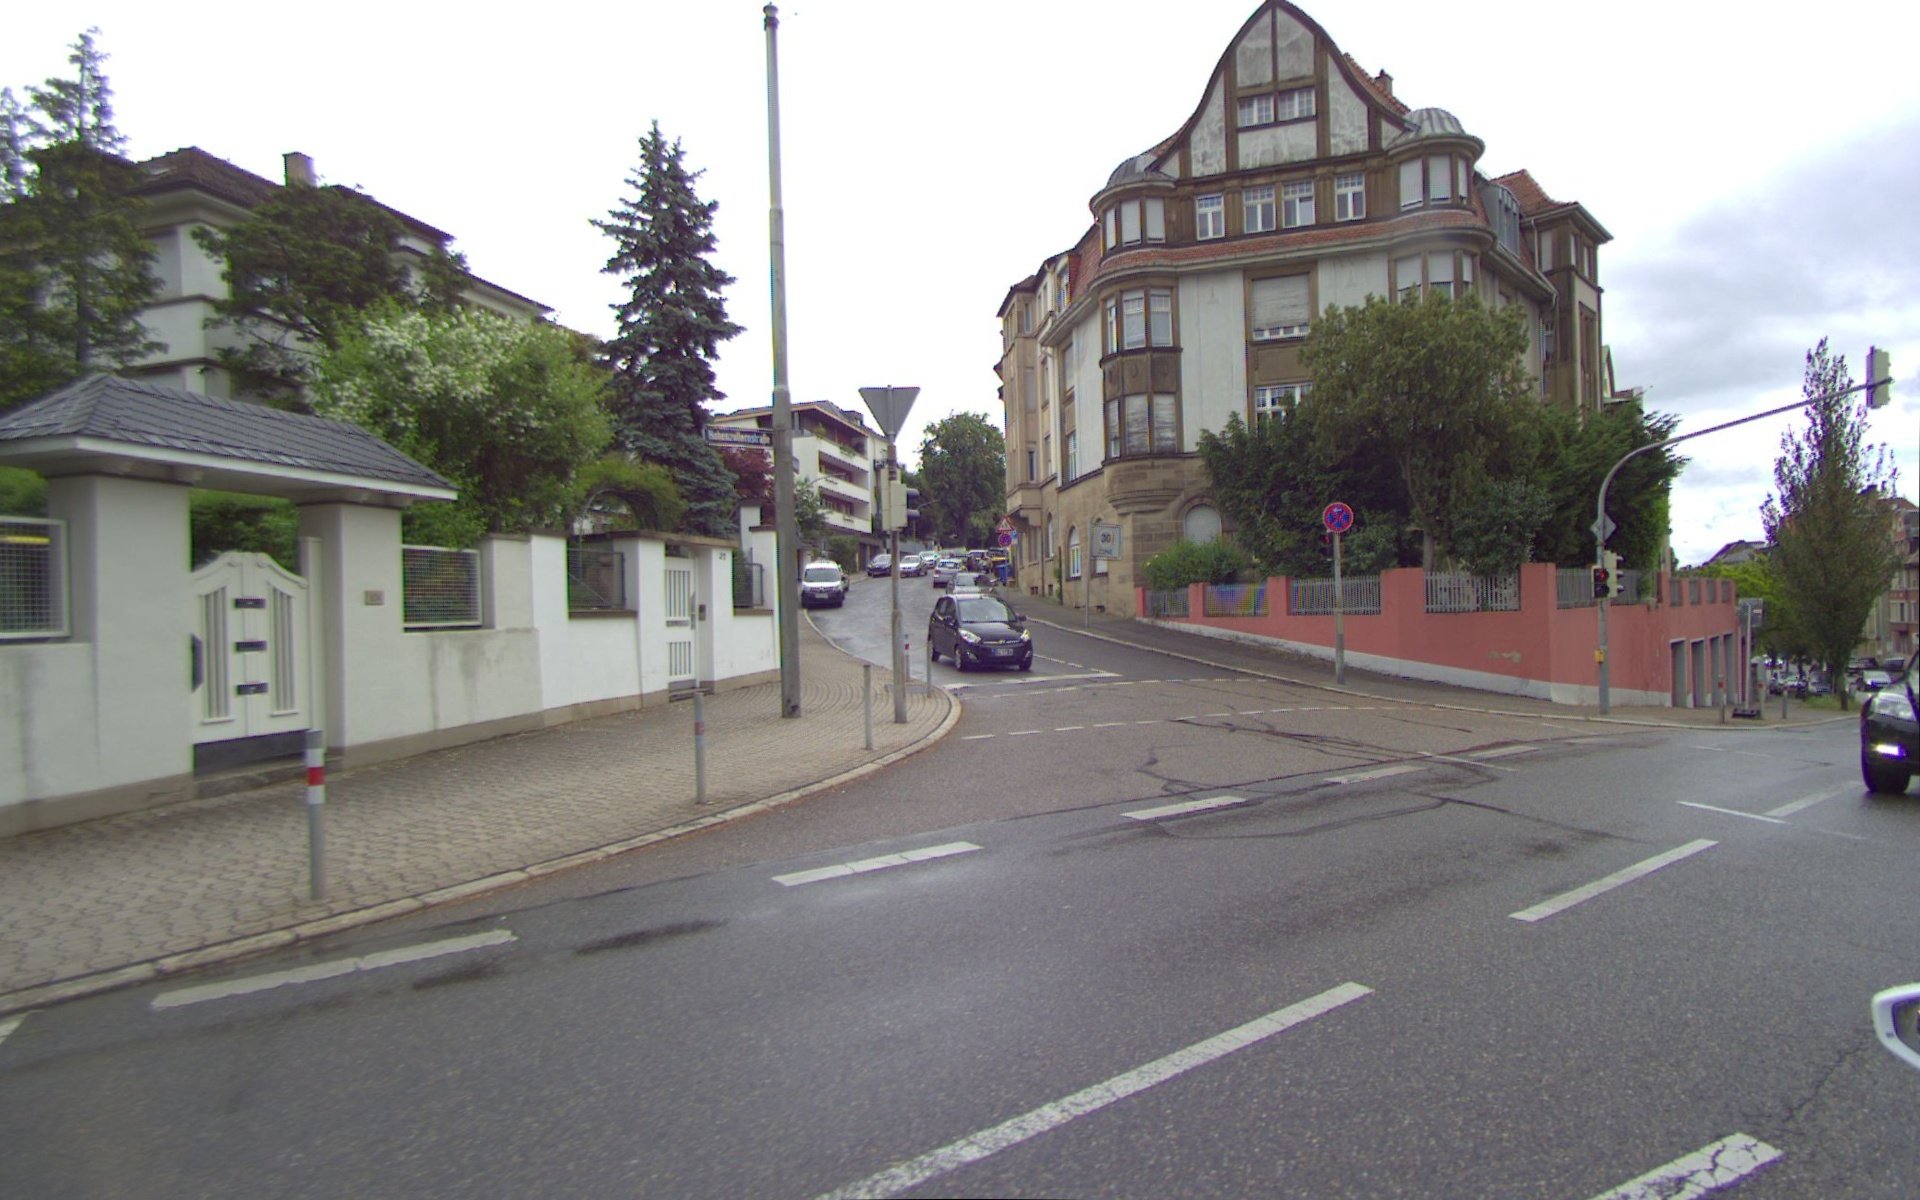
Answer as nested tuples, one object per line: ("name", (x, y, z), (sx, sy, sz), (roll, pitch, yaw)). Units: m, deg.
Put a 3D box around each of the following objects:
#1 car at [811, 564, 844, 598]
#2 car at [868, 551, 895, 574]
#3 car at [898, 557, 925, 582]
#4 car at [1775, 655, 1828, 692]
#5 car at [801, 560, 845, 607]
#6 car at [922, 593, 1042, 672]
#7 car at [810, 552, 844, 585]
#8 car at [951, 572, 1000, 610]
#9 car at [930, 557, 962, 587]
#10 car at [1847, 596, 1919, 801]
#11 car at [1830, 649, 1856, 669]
("car", (-6.307, -0.950, 48.024), (1.480, 1.473, 3.513), (1, 3, -7))
("car", (-5.698, -2.736, 73.089), (1.477, 1.473, 3.518), (2, 4, 2))
("car", (-3.341, -2.117, 69.486), (1.477, 1.473, 3.518), (2, 5, 2))
("car", (40.896, 3.579, 48.790), (1.795, 1.633, 3.979), (0, -3, 42))
("car", (-5.968, -0.757, 43.485), (1.801, 1.856, 3.965), (0, 4, -9))
("car", (0.401, 0.643, 21.915), (1.644, 1.458, 3.353), (-2, 2, -16))
("car", (-6.876, -1.652, 52.166), (1.479, 1.473, 3.515), (1, 5, -4))
("car", (0.583, -0.394, 40.788), (1.674, 1.473, 3.515), (0, 1, -5))
("car", (-0.820, -1.629, 57.930), (1.607, 1.473, 3.515), (1, 5, -4))
("car", (9.796, 0.851, 9.156), (4.307, 1.674, 1.808), (2, -1, -38))
("car", (87.967, 5.858, 100.072), (1.760, 1.879, 3.984), (0, -4, 39))
